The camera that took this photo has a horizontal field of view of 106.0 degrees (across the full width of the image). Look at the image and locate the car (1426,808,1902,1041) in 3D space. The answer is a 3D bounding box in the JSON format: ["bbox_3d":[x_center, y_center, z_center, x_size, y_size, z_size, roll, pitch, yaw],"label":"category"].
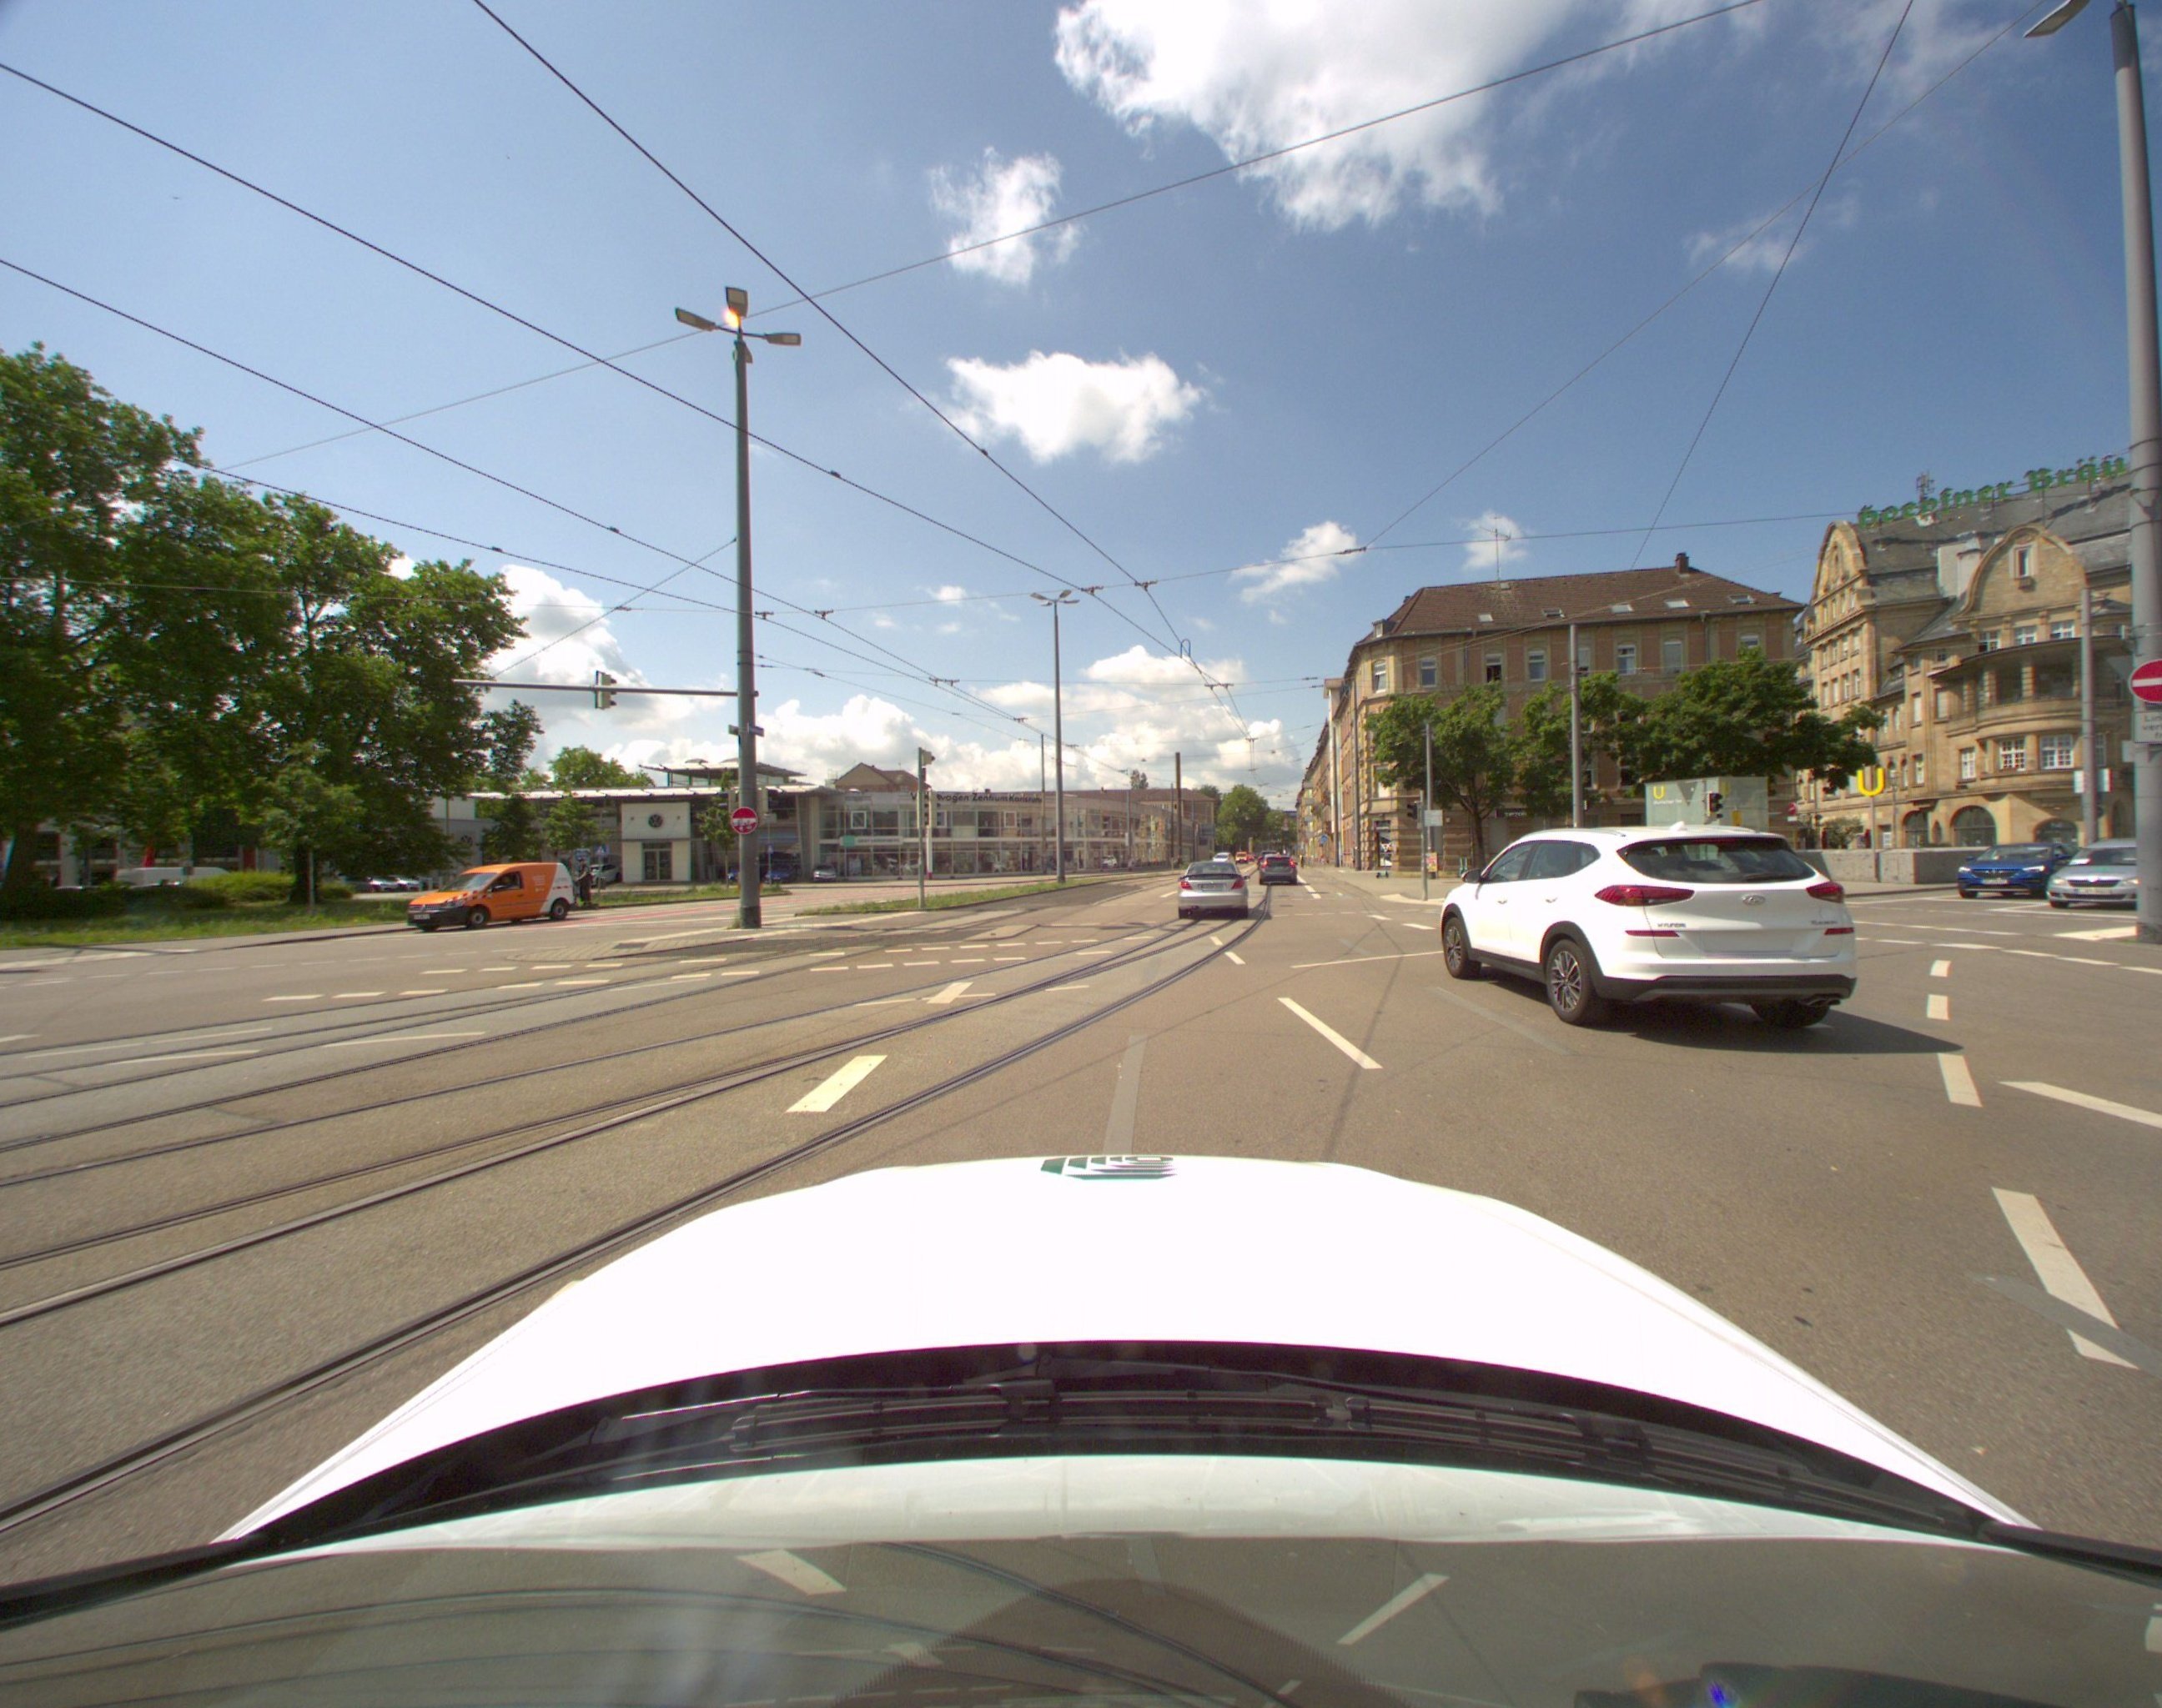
[{"bbox_3d":[5.023,0.503,7.911,1.872,1.641,4.239,-1,0,5],"label":"car"}]

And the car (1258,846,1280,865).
[{"bbox_3d":[16.813,0.113,72.837,1.868,1.641,3.971,-1,0,13],"label":"car"}]

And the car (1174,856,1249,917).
[{"bbox_3d":[3.471,0.777,21.179,1.730,1.391,4.193,-1,0,11],"label":"car"}]

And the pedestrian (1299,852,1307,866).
[{"bbox_3d":[22.288,0.496,81.770,0.687,1.457,0.682,-1,-2,12],"label":"pedestrian"}]

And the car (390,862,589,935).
[{"bbox_3d":[-16.929,1.207,23.665,1.707,1.800,4.754,-2,0,10],"label":"car"}]

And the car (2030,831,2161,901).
[{"bbox_3d":[24.131,0.219,18.797,4.143,1.473,1.710,-1,0,-23],"label":"car"}]

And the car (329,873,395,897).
[{"bbox_3d":[-64.367,2.764,72.955,4.218,2.014,2.002,0,-1,4],"label":"car"}]

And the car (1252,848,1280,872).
[{"bbox_3d":[13.469,0.427,59.309,1.868,1.641,3.971,-1,0,12],"label":"car"}]

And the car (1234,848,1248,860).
[{"bbox_3d":[23.409,0.035,119.146,1.868,1.693,3.971,-1,0,13],"label":"car"}]

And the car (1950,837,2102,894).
[{"bbox_3d":[27.500,0.303,23.699,4.143,1.473,1.710,-1,0,-23],"label":"car"}]

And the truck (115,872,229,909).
[{"bbox_3d":[-58.131,2.280,52.233,1.797,2.120,4.781,-1,0,2],"label":"truck"}]

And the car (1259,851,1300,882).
[{"bbox_3d":[9.785,0.607,40.354,1.868,1.419,3.970,-1,0,12],"label":"car"}]

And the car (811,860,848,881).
[{"bbox_3d":[-19.686,1.305,63.842,1.990,1.574,3.992,0,-1,-5],"label":"car"}]

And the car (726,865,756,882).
[{"bbox_3d":[-25.831,1.475,62.024,1.652,1.250,3.977,0,-1,-16],"label":"car"}]

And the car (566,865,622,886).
[{"bbox_3d":[-37.341,1.650,62.562,1.990,1.574,4.170,0,-1,-5],"label":"car"}]

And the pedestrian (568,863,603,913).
[{"bbox_3d":[-18.511,1.264,30.415,0.755,1.800,0.766,-1,0,10],"label":"pedestrian"}]

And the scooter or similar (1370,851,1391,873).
[{"bbox_3d":[16.419,0.429,44.667,1.529,1.174,0.378,1,-2,-40],"label":"scooter or similar"}]

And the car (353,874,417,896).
[{"bbox_3d":[-64.199,2.835,75.178,4.218,2.014,2.002,0,-1,4],"label":"car"}]

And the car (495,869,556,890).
[{"bbox_3d":[-42.467,1.944,62.367,1.990,1.574,4.170,0,-1,-5],"label":"car"}]

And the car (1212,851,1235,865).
[{"bbox_3d":[15.637,0.422,89.489,1.866,1.419,3.976,-1,0,19],"label":"car"}]

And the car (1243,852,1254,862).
[{"bbox_3d":[31.337,0.542,152.556,1.868,1.693,3.971,-1,0,13],"label":"car"}]

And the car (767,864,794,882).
[{"bbox_3d":[-22.755,1.436,61.720,1.652,1.250,3.977,0,-1,-16],"label":"car"}]

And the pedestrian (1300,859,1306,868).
[{"bbox_3d":[22.250,0.952,81.590,0.521,0.907,1.566,-1,-1,12],"label":"pedestrian"}]

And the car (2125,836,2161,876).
[{"bbox_3d":[42.053,0.046,31.068,4.143,1.473,1.710,-1,0,-23],"label":"car"}]
